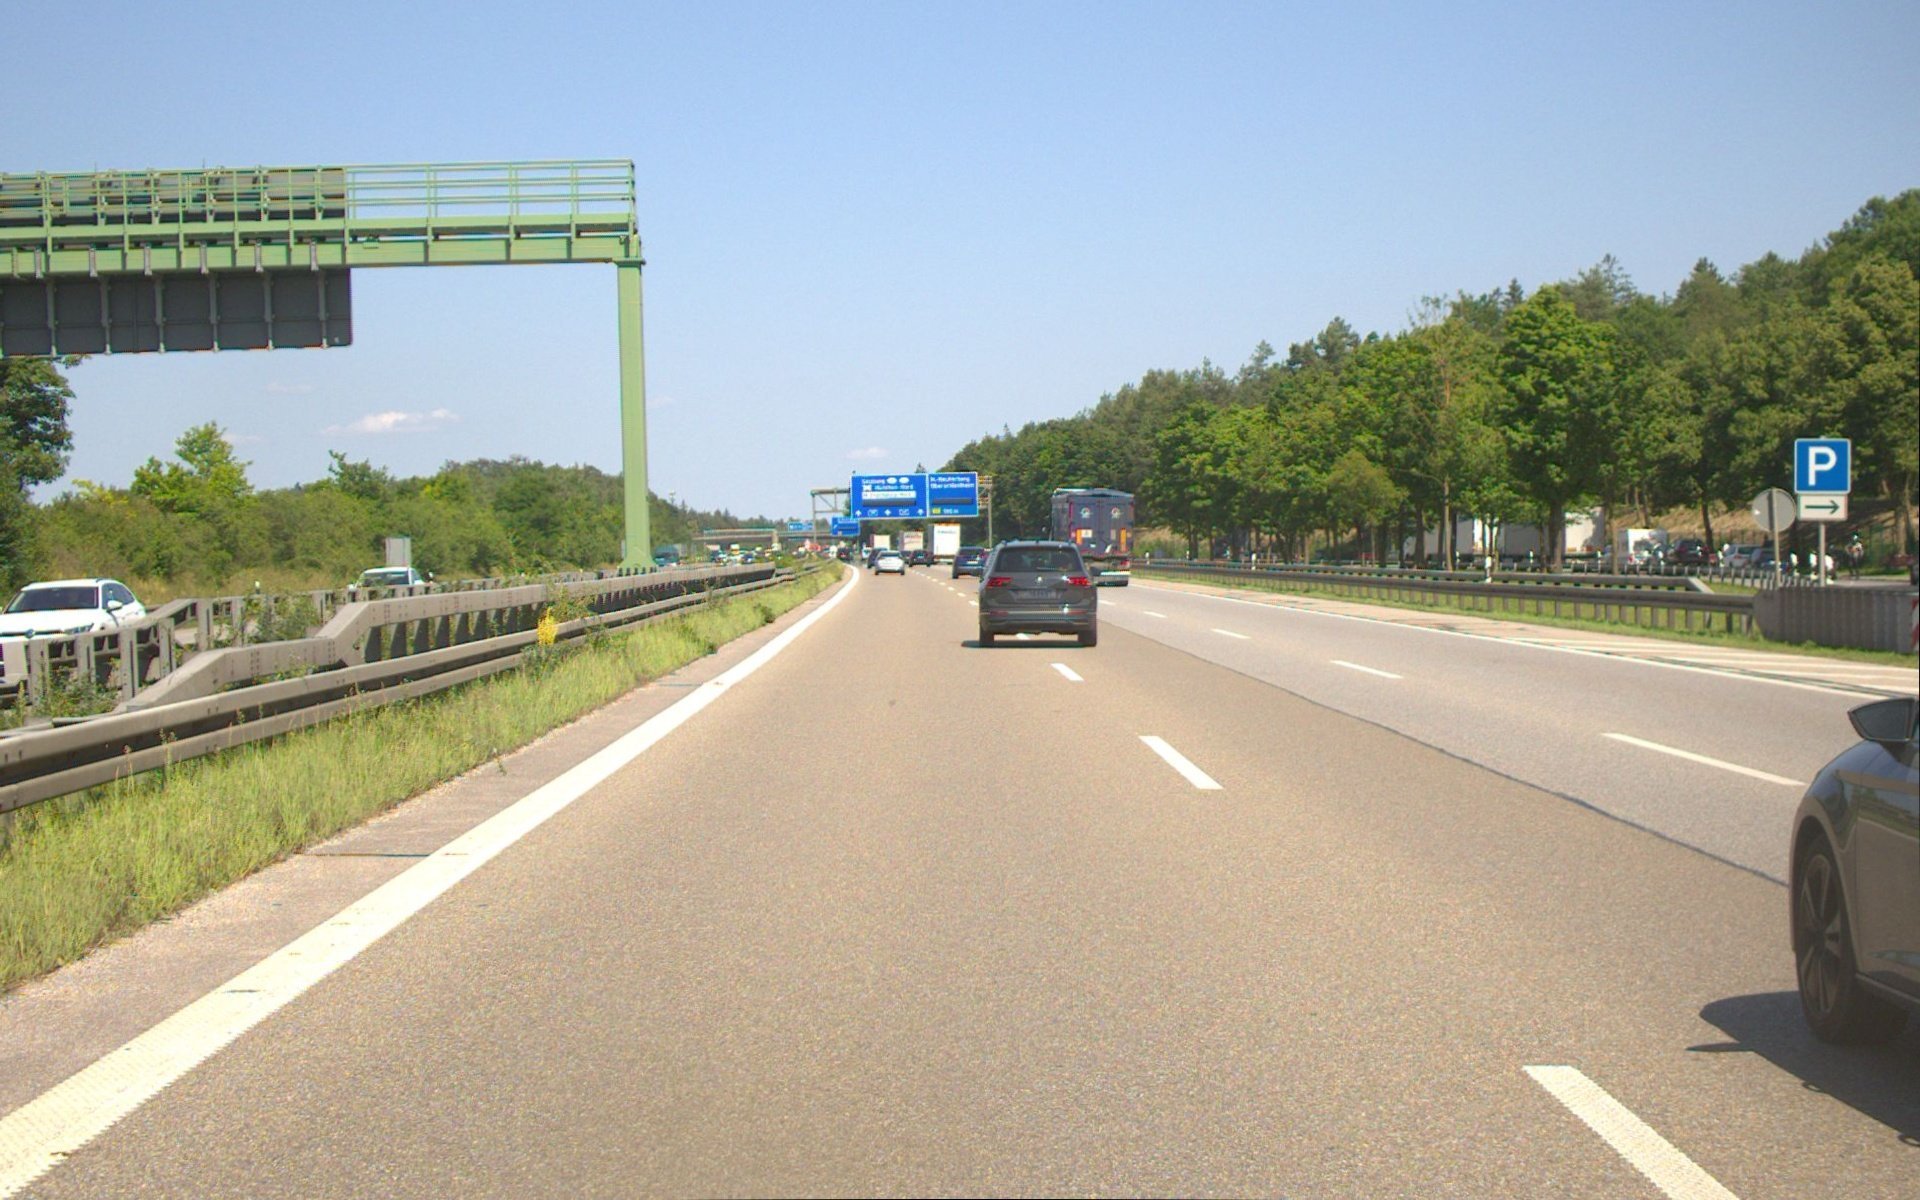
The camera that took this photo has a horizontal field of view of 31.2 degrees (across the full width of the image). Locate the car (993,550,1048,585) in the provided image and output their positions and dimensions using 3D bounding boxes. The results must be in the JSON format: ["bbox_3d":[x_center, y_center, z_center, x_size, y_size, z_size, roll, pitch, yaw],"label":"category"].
[{"bbox_3d":[2.046,-1.115,117.101,1.708,1.151,3.689,-1,1,-1],"label":"car"}]

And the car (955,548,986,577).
[{"bbox_3d":[0.524,-1.935,175.482,1.471,1.393,3.410,2,1,-1],"label":"car"}]

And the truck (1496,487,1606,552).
[{"bbox_3d":[36.815,-4.961,214.832,2.995,3.917,14.463,-1,1,-5],"label":"truck"}]

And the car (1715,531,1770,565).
[{"bbox_3d":[38.946,-2.570,171.180,1.656,1.670,4.652,0,1,0],"label":"car"}]

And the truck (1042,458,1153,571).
[{"bbox_3d":[5.534,-3.459,141.438,3.780,4.407,14.051,0,1,-1],"label":"truck"}]

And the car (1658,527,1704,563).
[{"bbox_3d":[37.996,-2.908,181.314,1.656,1.871,4.800,0,1,3],"label":"car"}]

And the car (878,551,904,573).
[{"bbox_3d":[-4.045,-2.225,201.930,1.471,1.223,3.410,-1,1,-1],"label":"car"}]

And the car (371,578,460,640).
[{"bbox_3d":[-14.191,0.214,89.724,1.666,1.459,3.882,-3,1,-1],"label":"car"}]

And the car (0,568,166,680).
[{"bbox_3d":[-14.280,0.353,55.083,1.878,1.605,5.310,-3,1,-1],"label":"car"}]

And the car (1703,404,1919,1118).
[{"bbox_3d":[3.329,0.405,8.884,1.665,1.870,4.828,-2,1,-1],"label":"car"}]

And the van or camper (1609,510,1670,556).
[{"bbox_3d":[38.285,-3.763,193.837,2.203,2.522,5.876,-1,1,-1],"label":"van or camper"}]

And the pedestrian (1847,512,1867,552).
[{"bbox_3d":[39.690,-3.005,152.177,0.798,1.776,0.642,-1,1,13],"label":"pedestrian"}]

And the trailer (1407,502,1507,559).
[{"bbox_3d":[33.991,-4.720,235.679,2.857,3.783,14.193,0,1,-8],"label":"trailer"}]

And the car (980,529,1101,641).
[{"bbox_3d":[1.269,-0.273,53.643,1.799,1.663,4.258,1,1,2],"label":"car"}]

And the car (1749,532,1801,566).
[{"bbox_3d":[39.033,-2.457,164.701,1.994,1.568,3.999,-1,1,8],"label":"car"}]

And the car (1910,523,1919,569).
[{"bbox_3d":[36.231,-2.000,126.341,1.994,1.645,4.317,-1,1,8],"label":"car"}]
